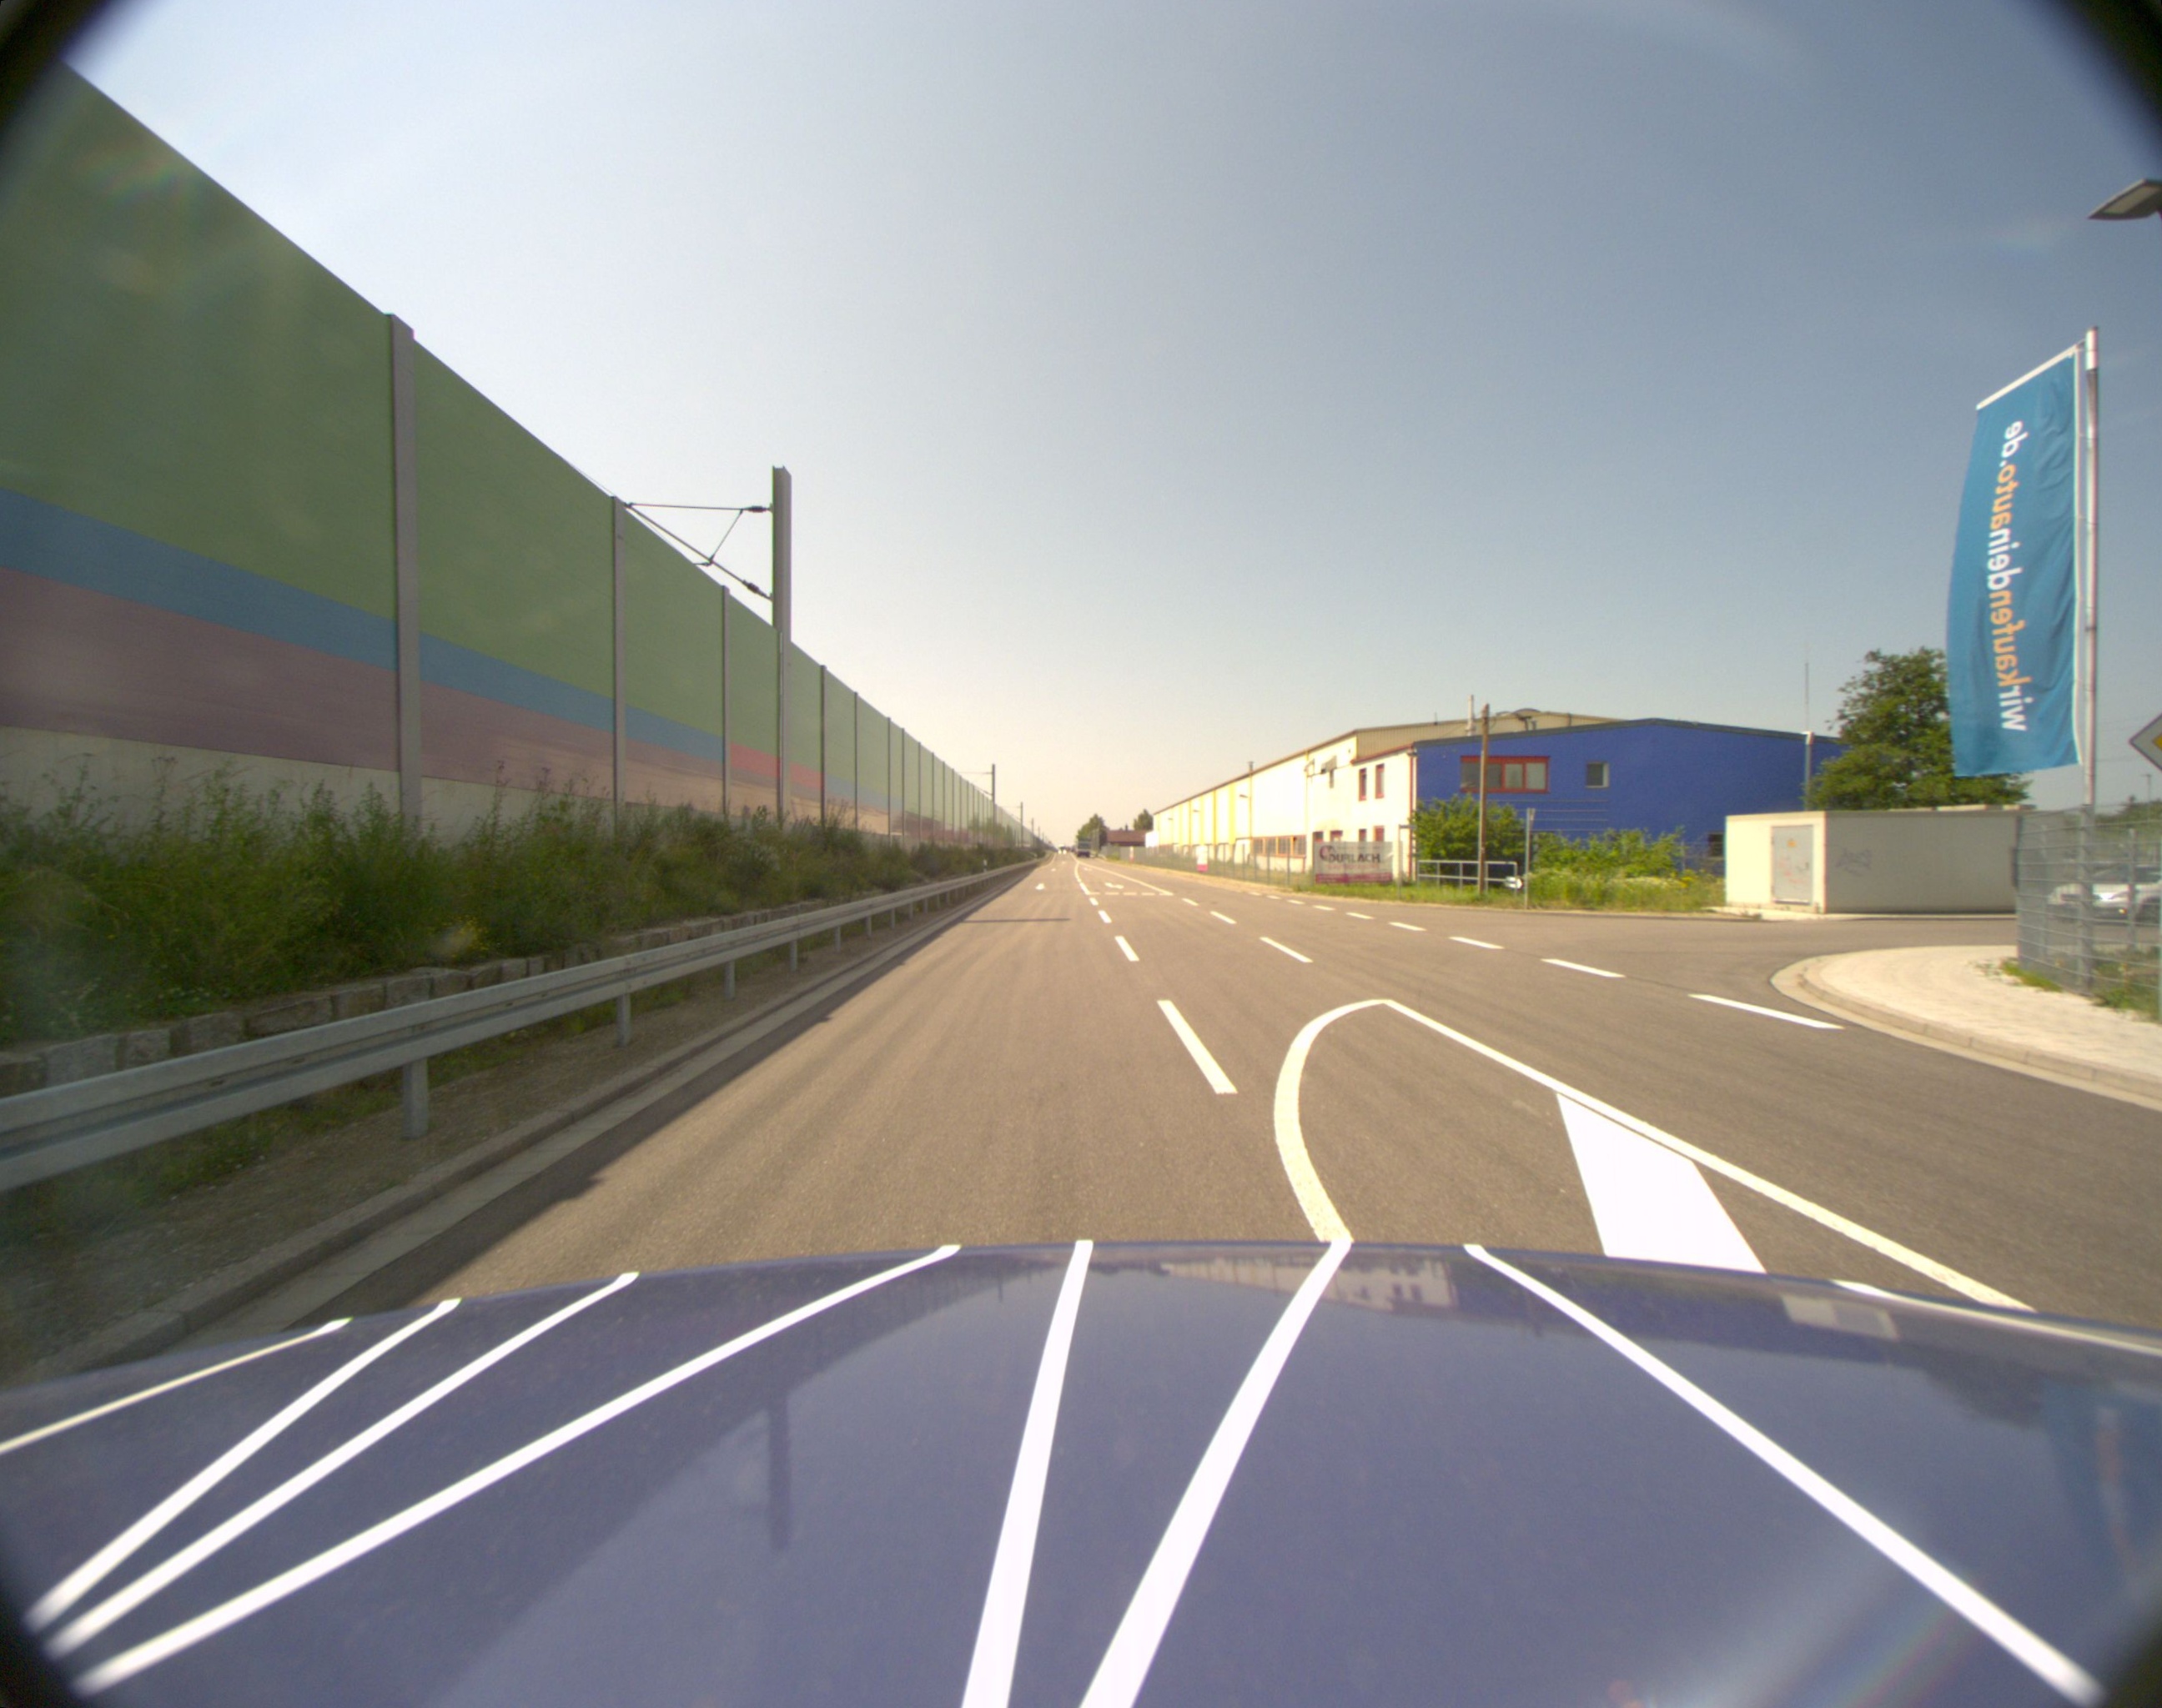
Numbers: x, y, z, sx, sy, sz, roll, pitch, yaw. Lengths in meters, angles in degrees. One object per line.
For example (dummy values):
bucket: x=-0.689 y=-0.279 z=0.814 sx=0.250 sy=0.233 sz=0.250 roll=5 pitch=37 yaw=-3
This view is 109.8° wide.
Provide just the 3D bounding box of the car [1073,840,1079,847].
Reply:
car: x=-1.680 y=-3.377 z=246.564 sx=1.999 sy=2.002 sz=4.000 roll=0 pitch=0 yaw=0

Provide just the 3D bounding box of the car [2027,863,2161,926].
car: x=27.459 y=1.000 z=19.561 sx=4.160 sy=1.494 sz=1.774 roll=0 pitch=0 yaw=-3

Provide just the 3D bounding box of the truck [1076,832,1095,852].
truck: x=0.929 y=-2.272 z=148.603 sx=3.564 sy=3.855 sz=11.414 roll=0 pitch=0 yaw=0
